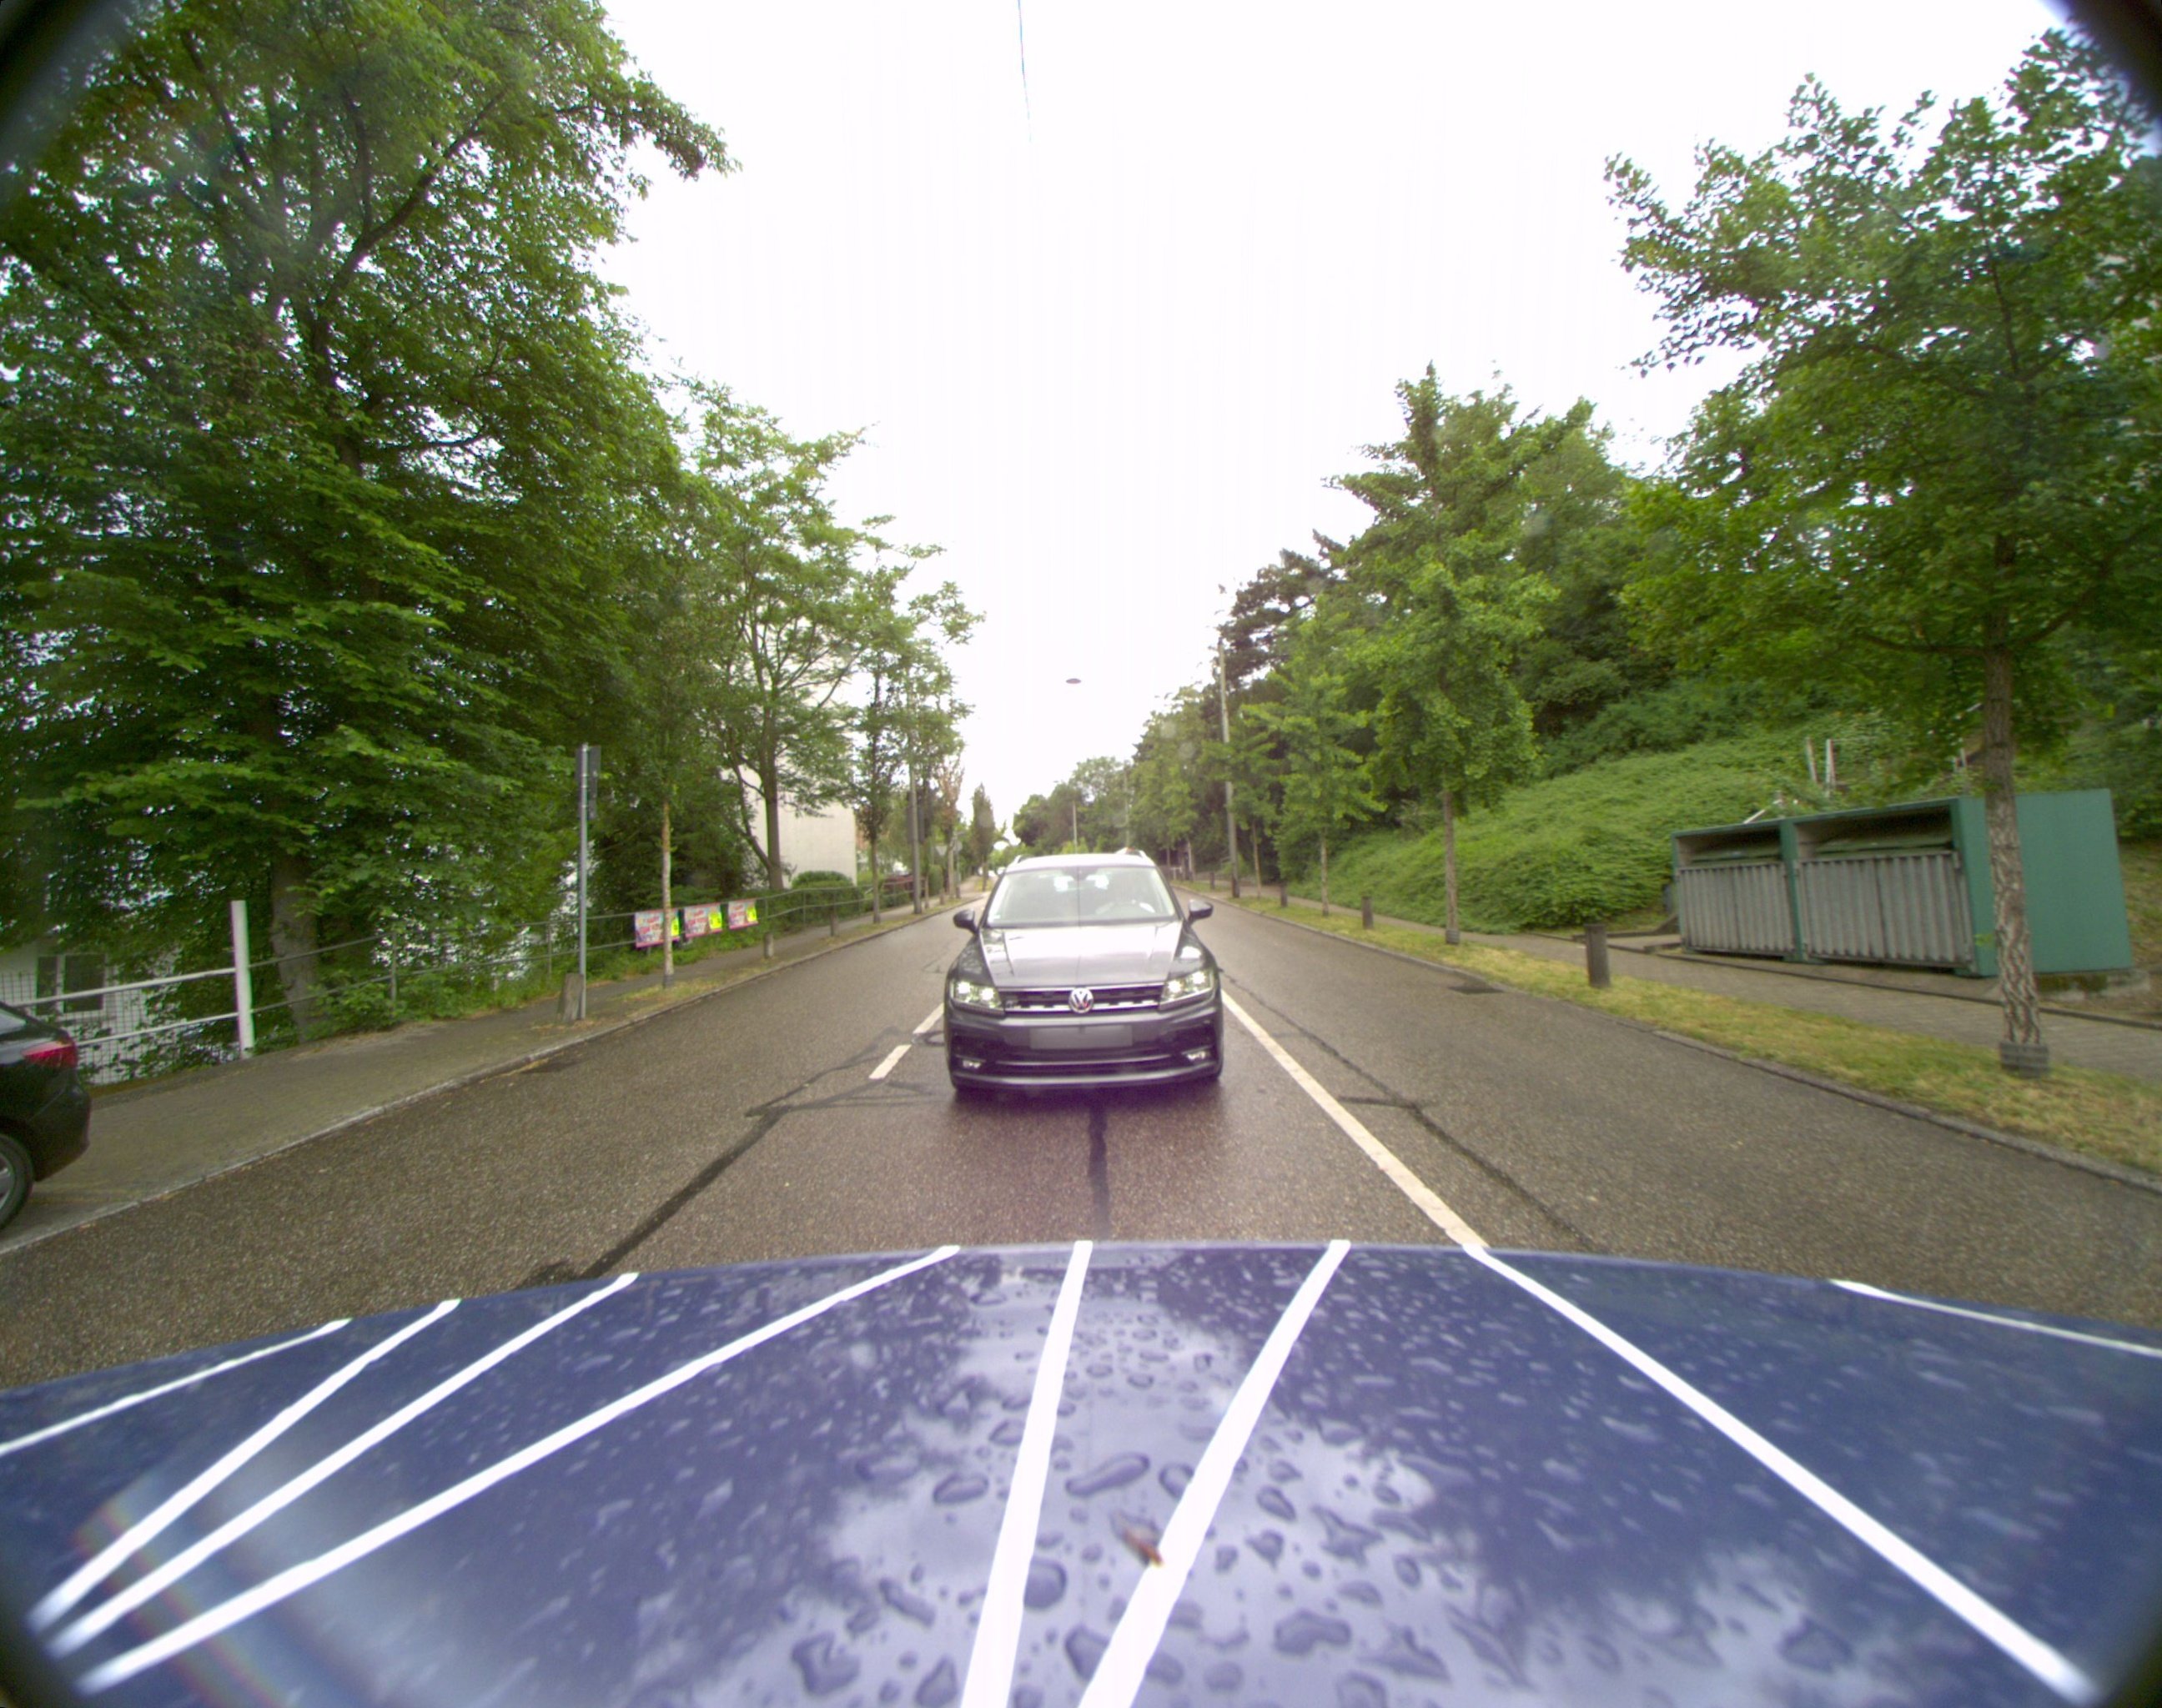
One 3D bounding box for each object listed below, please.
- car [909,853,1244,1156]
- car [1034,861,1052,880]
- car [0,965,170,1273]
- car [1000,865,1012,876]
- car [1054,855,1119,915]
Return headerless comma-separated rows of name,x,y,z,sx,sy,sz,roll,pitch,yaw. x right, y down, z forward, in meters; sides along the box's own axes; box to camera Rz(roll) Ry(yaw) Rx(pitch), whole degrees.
car,0.002,0.861,6.482,1.834,1.608,4.292,-3,1,1
car,-4.584,1.951,90.757,1.835,2.003,4.055,-3,1,-5
car,-6.338,1.383,2.223,1.999,1.426,4.442,-1,0,-1
car,-12.752,2.710,129.002,1.893,1.710,4.235,-1,1,-6
car,0.183,0.914,24.602,1.834,1.608,4.350,-3,1,1
